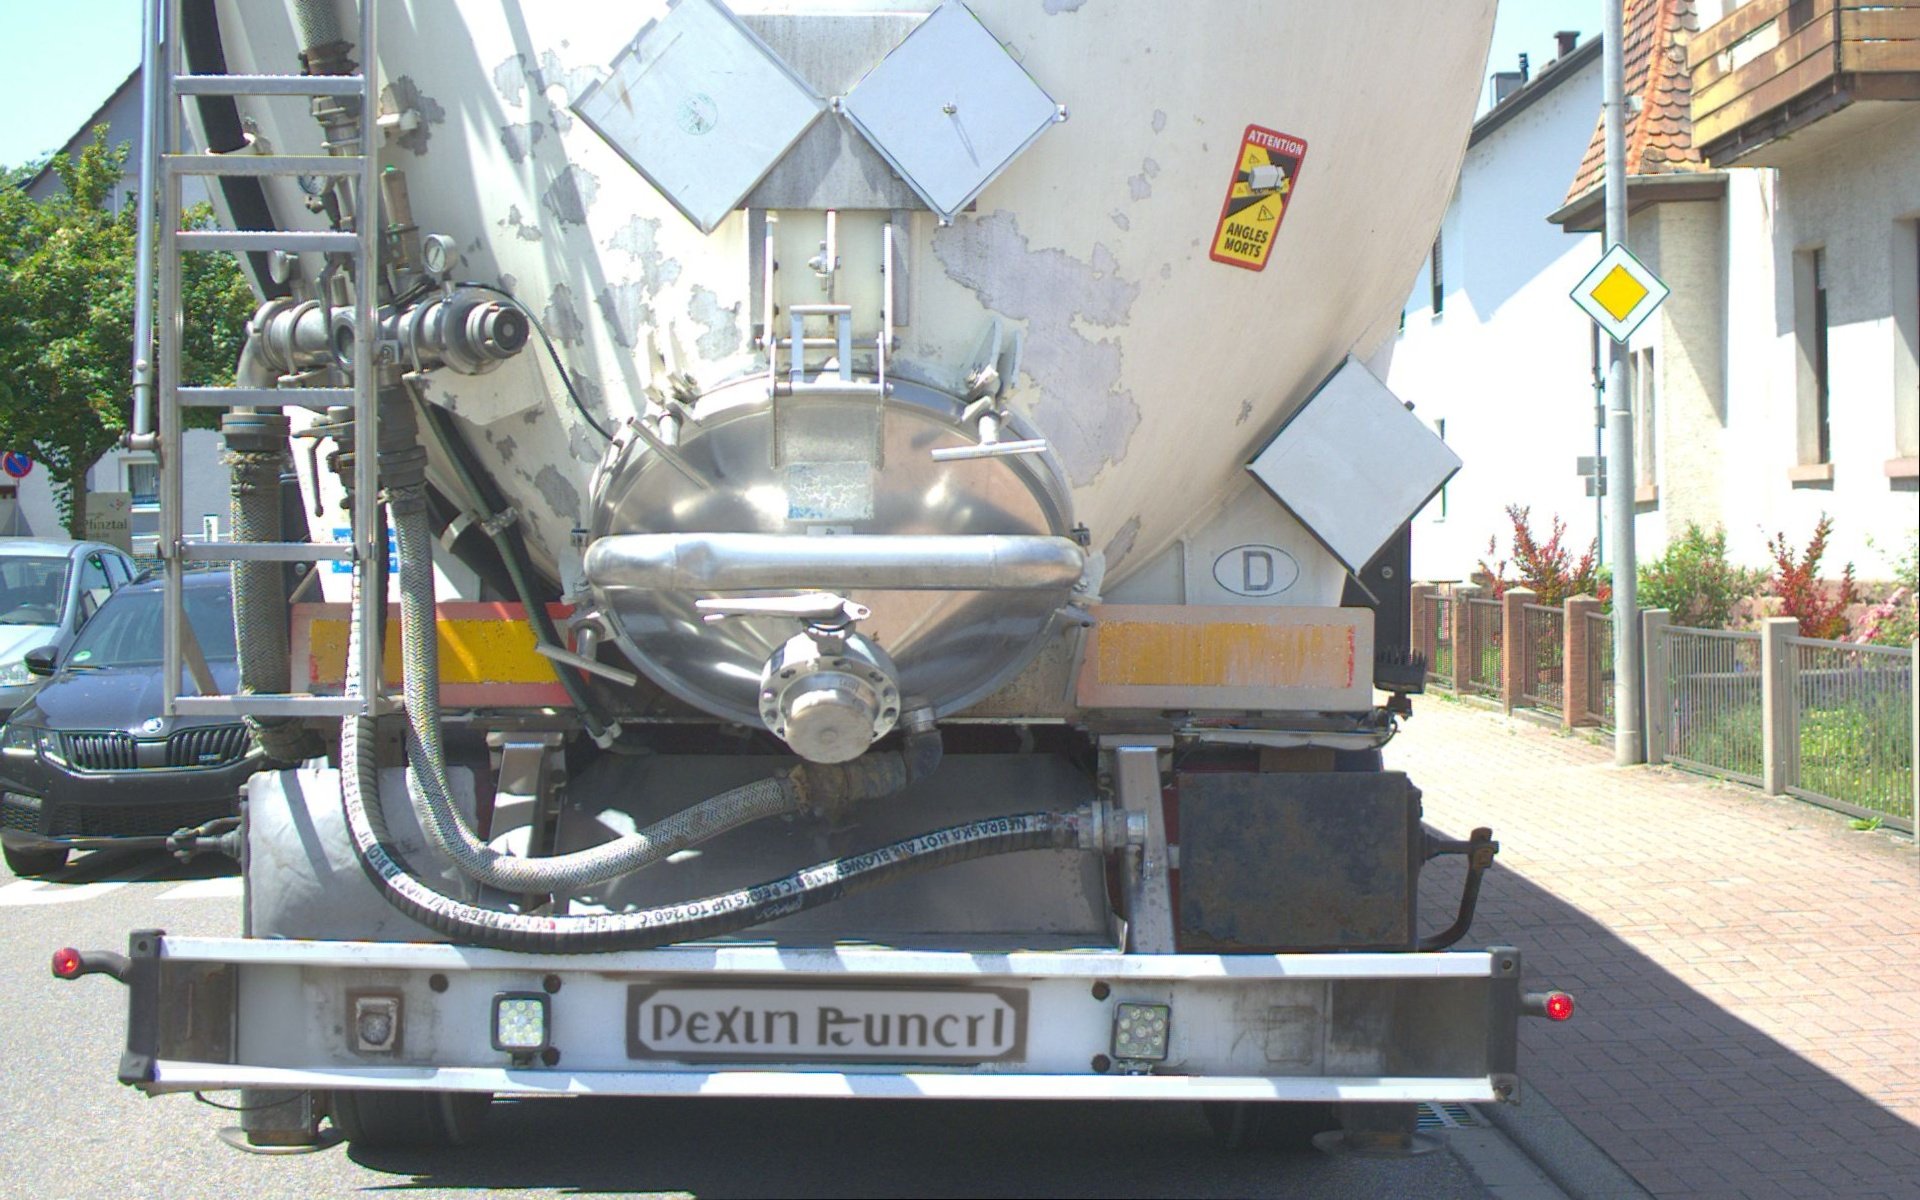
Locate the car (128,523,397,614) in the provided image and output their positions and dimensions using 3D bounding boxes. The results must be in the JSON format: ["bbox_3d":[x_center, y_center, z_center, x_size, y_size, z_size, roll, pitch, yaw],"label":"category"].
[{"bbox_3d":[-13.085,-0.592,64.577,4.626,1.645,1.740,0,1,8],"label":"car"}]

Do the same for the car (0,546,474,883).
[{"bbox_3d":[-3.693,0.492,17.839,1.719,1.441,4.255,-2,1,0],"label":"car"}]

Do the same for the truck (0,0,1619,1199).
[{"bbox_3d":[-0.296,-0.712,10.315,2.641,4.002,9.562,0,1,0],"label":"truck"}]

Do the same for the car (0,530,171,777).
[{"bbox_3d":[-6.746,0.305,23.942,1.697,1.575,3.838,0,1,-1],"label":"car"}]
